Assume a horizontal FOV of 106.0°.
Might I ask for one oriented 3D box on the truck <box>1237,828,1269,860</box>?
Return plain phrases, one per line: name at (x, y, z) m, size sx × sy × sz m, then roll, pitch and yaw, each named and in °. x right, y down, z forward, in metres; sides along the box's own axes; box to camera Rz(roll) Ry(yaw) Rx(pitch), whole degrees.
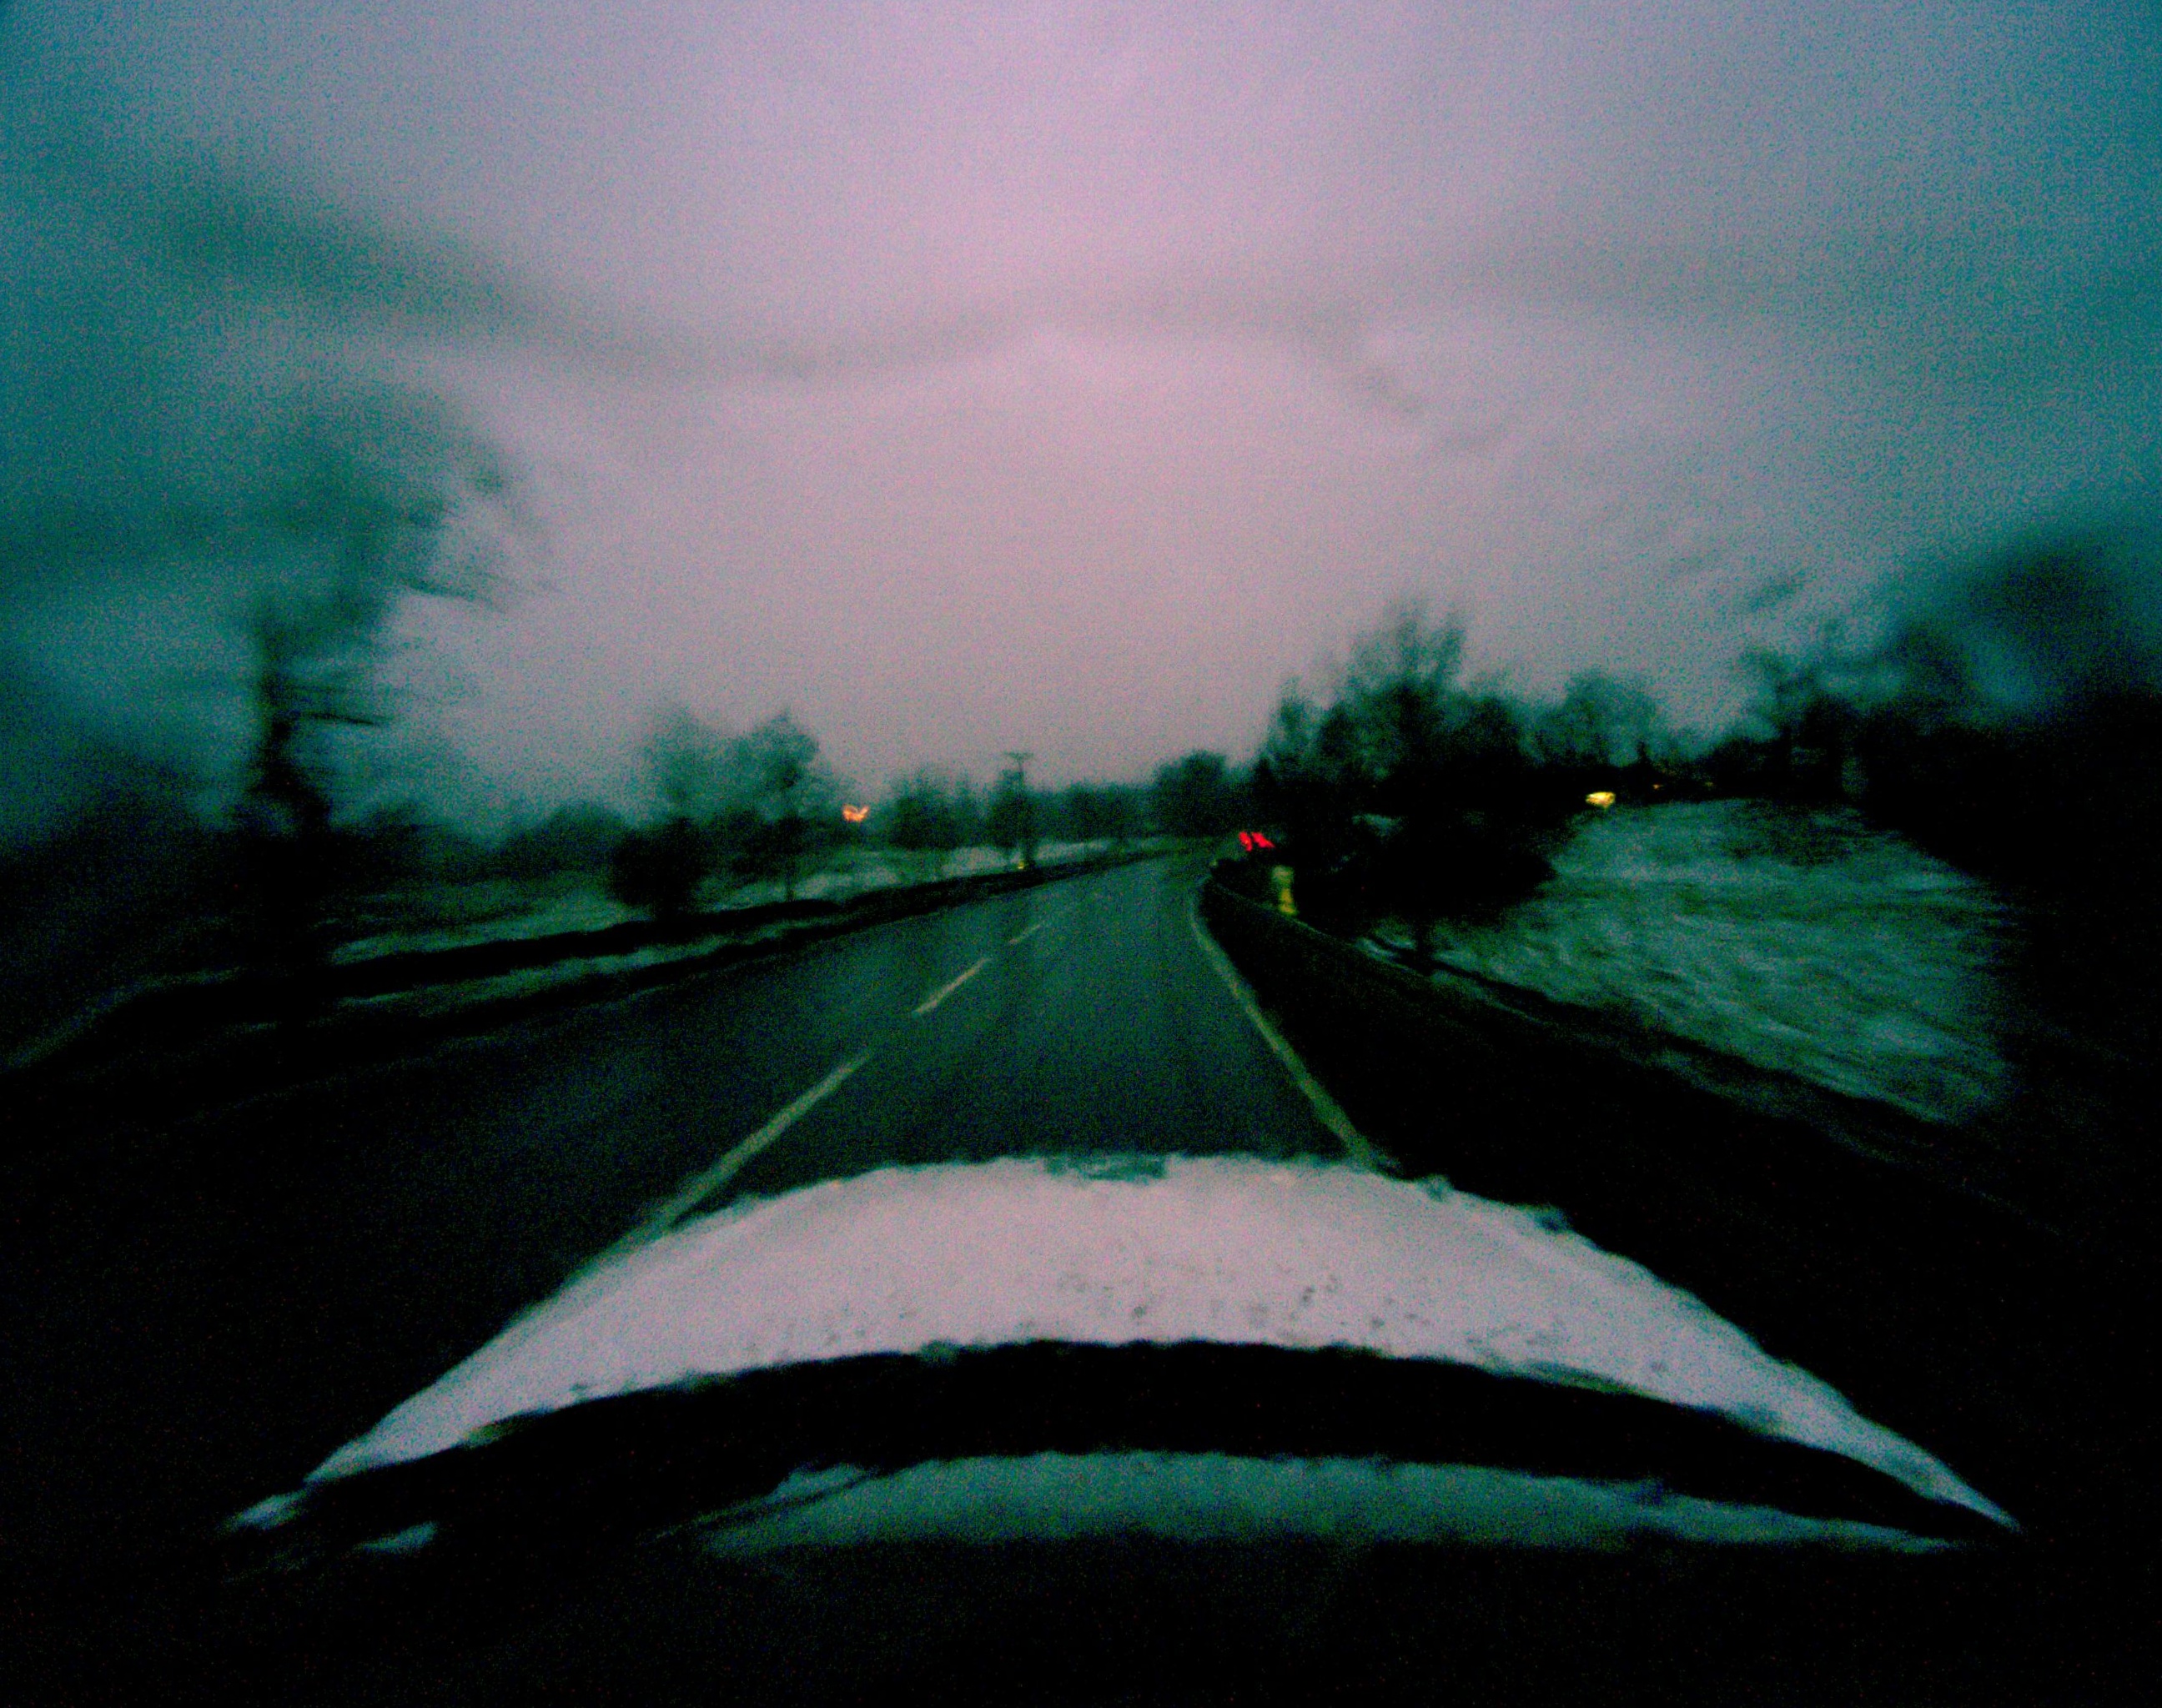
truck at (17.780, -1.052, 83.970) m, size 2.511 × 2.868 × 5.951 m, roll -2°, pitch 3°, yaw 18°
